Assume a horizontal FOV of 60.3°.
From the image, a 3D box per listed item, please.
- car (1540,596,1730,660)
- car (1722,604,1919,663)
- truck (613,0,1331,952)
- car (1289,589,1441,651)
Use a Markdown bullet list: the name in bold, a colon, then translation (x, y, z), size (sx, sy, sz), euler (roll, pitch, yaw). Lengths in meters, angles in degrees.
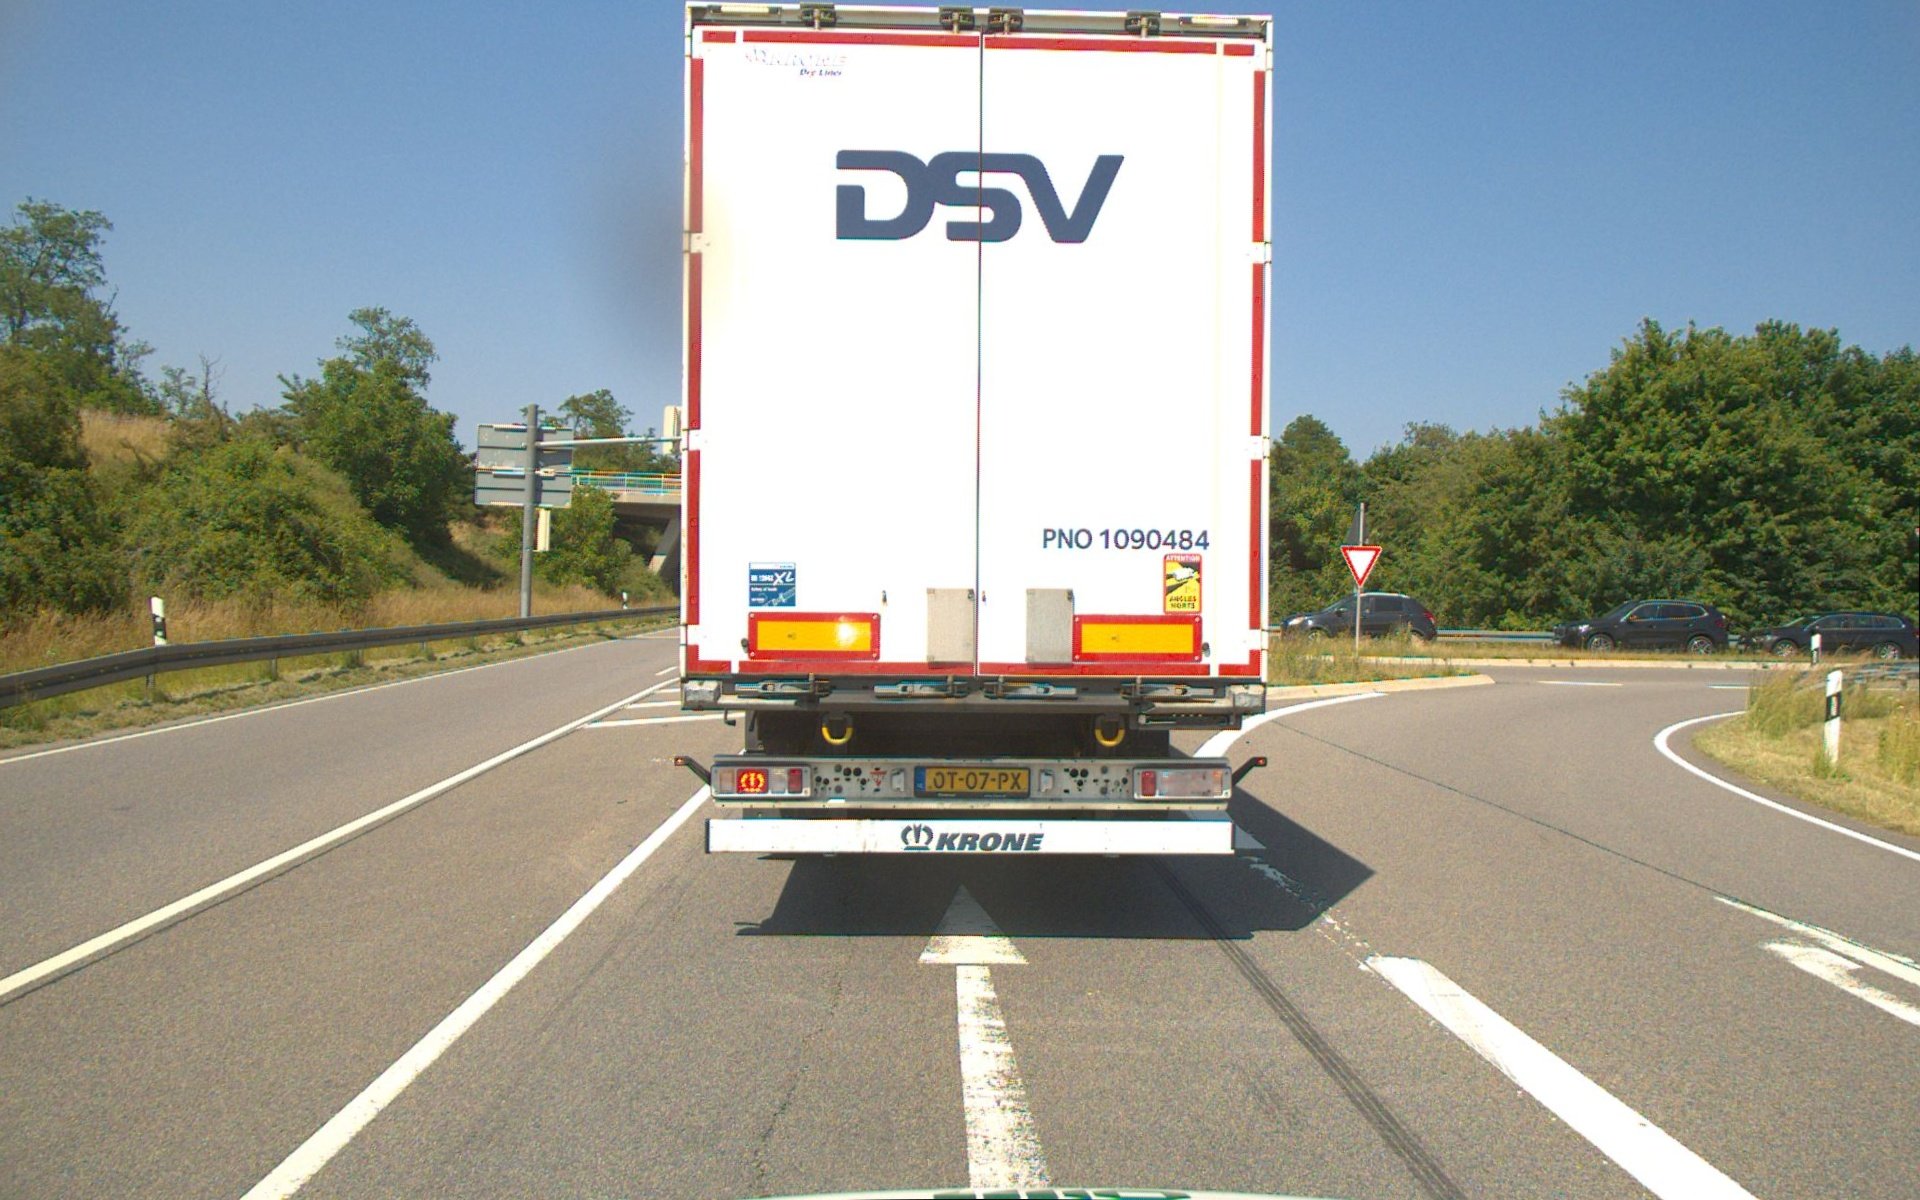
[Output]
- **car**: translation (18.057, 0.742, 44.379), size (4.393, 1.626, 1.768), euler (1, -1, 2)
- **car**: translation (23.824, 0.904, 45.795), size (4.583, 1.540, 1.854), euler (1, -1, 6)
- **truck**: translation (-0.056, -0.559, 11.771), size (2.927, 4.011, 9.872), euler (1, 0, -1)
- **car**: translation (11.294, 0.551, 46.320), size (3.901, 1.669, 1.842), euler (1, -1, 5)
